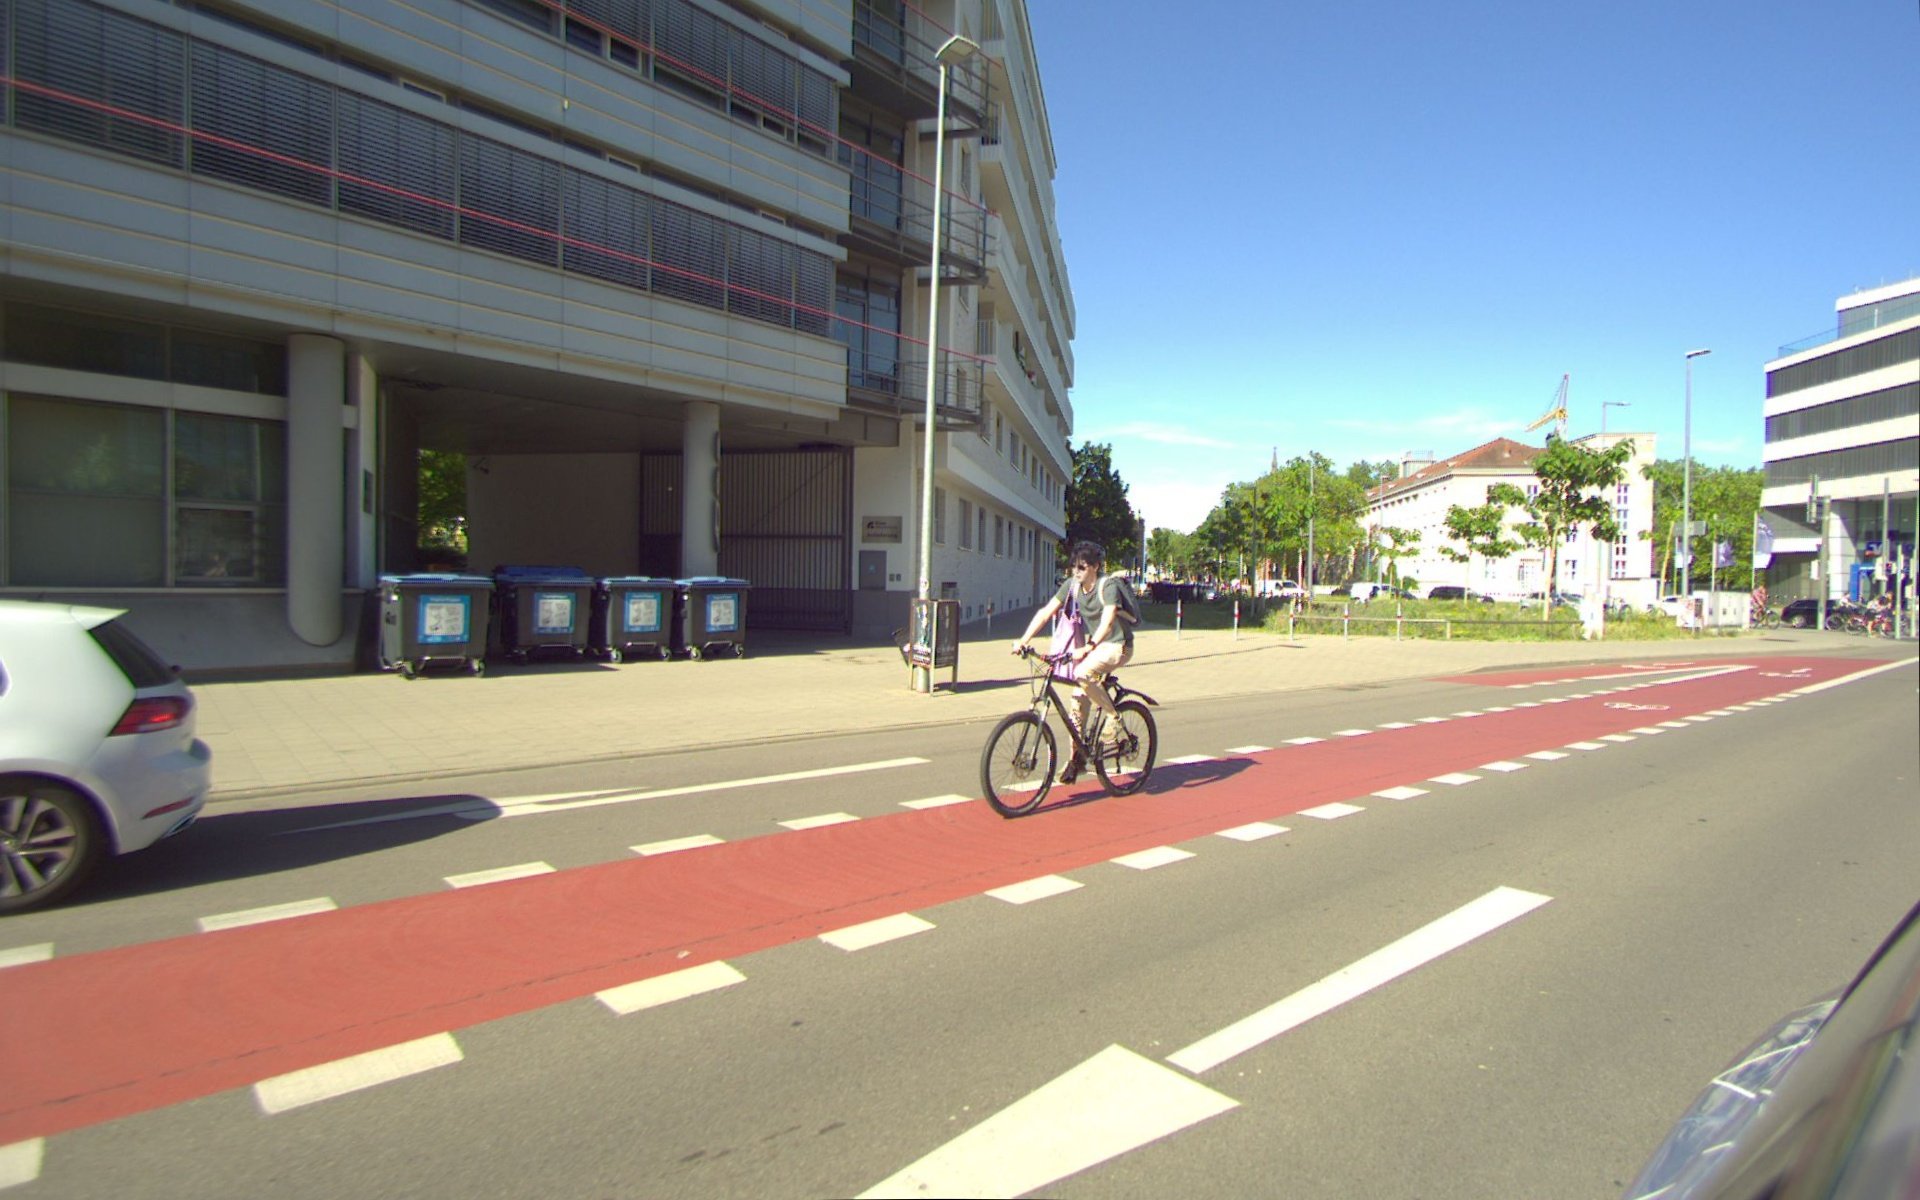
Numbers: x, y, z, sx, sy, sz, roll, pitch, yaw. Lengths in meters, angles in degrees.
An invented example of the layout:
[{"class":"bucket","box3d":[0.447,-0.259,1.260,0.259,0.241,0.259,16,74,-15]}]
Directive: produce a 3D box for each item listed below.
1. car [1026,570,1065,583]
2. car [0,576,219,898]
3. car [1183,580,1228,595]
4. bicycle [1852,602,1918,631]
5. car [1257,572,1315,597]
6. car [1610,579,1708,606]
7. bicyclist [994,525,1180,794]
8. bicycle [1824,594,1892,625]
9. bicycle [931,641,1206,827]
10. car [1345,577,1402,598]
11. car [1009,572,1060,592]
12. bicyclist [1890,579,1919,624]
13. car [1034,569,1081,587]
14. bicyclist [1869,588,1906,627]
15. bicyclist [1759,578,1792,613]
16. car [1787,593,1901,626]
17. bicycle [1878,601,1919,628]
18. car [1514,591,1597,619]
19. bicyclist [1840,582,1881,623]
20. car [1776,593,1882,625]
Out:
[{"class":"car","box3d":[10.348,-2.832,123.008,4.308,1.479,2.005,0,1,-16]},{"class":"car","box3d":[-5.812,0.618,4.292,4.217,1.421,1.776,0,0,-40]},{"class":"car","box3d":[23.126,-1.165,95.493,1.835,1.286,4.665,0,2,-20]},{"class":"bicycle","box3d":[35.336,0.623,38.688,0.682,0.966,1.710,1,2,-28]},{"class":"car","box3d":[26.925,-1.316,83.680,1.836,2.006,4.664,0,2,-25]},{"class":"car","box3d":[41.597,-0.465,60.315,1.804,1.448,4.491,-1,2,-27]},{"class":"bicyclist","box3d":[0.891,0.376,7.104,1.032,1.714,0.809,0,0,-37]},{"class":"bicycle","box3d":[38.908,0.384,43.894,0.682,1.118,2.017,4,3,-22]},{"class":"bicycle","box3d":[0.790,0.854,7.064,1.856,1.050,0.828,0,0,-37]},{"class":"car","box3d":[32.369,-0.980,79.361,1.836,1.575,4.009,0,2,-22]},{"class":"car","box3d":[6.424,-1.565,86.968,3.918,1.682,2.004,0,1,-26]},{"class":"bicyclist","box3d":[38.865,0.056,41.508,0.539,1.820,0.907,1,2,-33]},{"class":"car","box3d":[10.190,-2.258,105.820,4.695,1.793,1.735,0,1,-26]},{"class":"bicyclist","box3d":[35.354,0.290,38.574,0.578,1.421,0.829,1,2,-28]},{"class":"bicyclist","box3d":[33.667,-0.196,41.810,0.684,1.394,0.737,3,2,5]},{"class":"car","box3d":[42.670,0.421,48.946,1.553,1.451,3.845,0,2,-25]},{"class":"bicycle","box3d":[38.923,0.609,41.397,0.594,1.050,1.897,1,2,-33]},{"class":"car","box3d":[36.400,0.288,61.941,1.836,1.575,4.007,0,2,-27]},{"class":"bicyclist","box3d":[38.958,0.093,43.788,0.583,1.673,1.006,2,4,-22]},{"class":"car","box3d":[45.013,0.427,52.501,1.636,1.448,3.842,-3,3,-28]}]
